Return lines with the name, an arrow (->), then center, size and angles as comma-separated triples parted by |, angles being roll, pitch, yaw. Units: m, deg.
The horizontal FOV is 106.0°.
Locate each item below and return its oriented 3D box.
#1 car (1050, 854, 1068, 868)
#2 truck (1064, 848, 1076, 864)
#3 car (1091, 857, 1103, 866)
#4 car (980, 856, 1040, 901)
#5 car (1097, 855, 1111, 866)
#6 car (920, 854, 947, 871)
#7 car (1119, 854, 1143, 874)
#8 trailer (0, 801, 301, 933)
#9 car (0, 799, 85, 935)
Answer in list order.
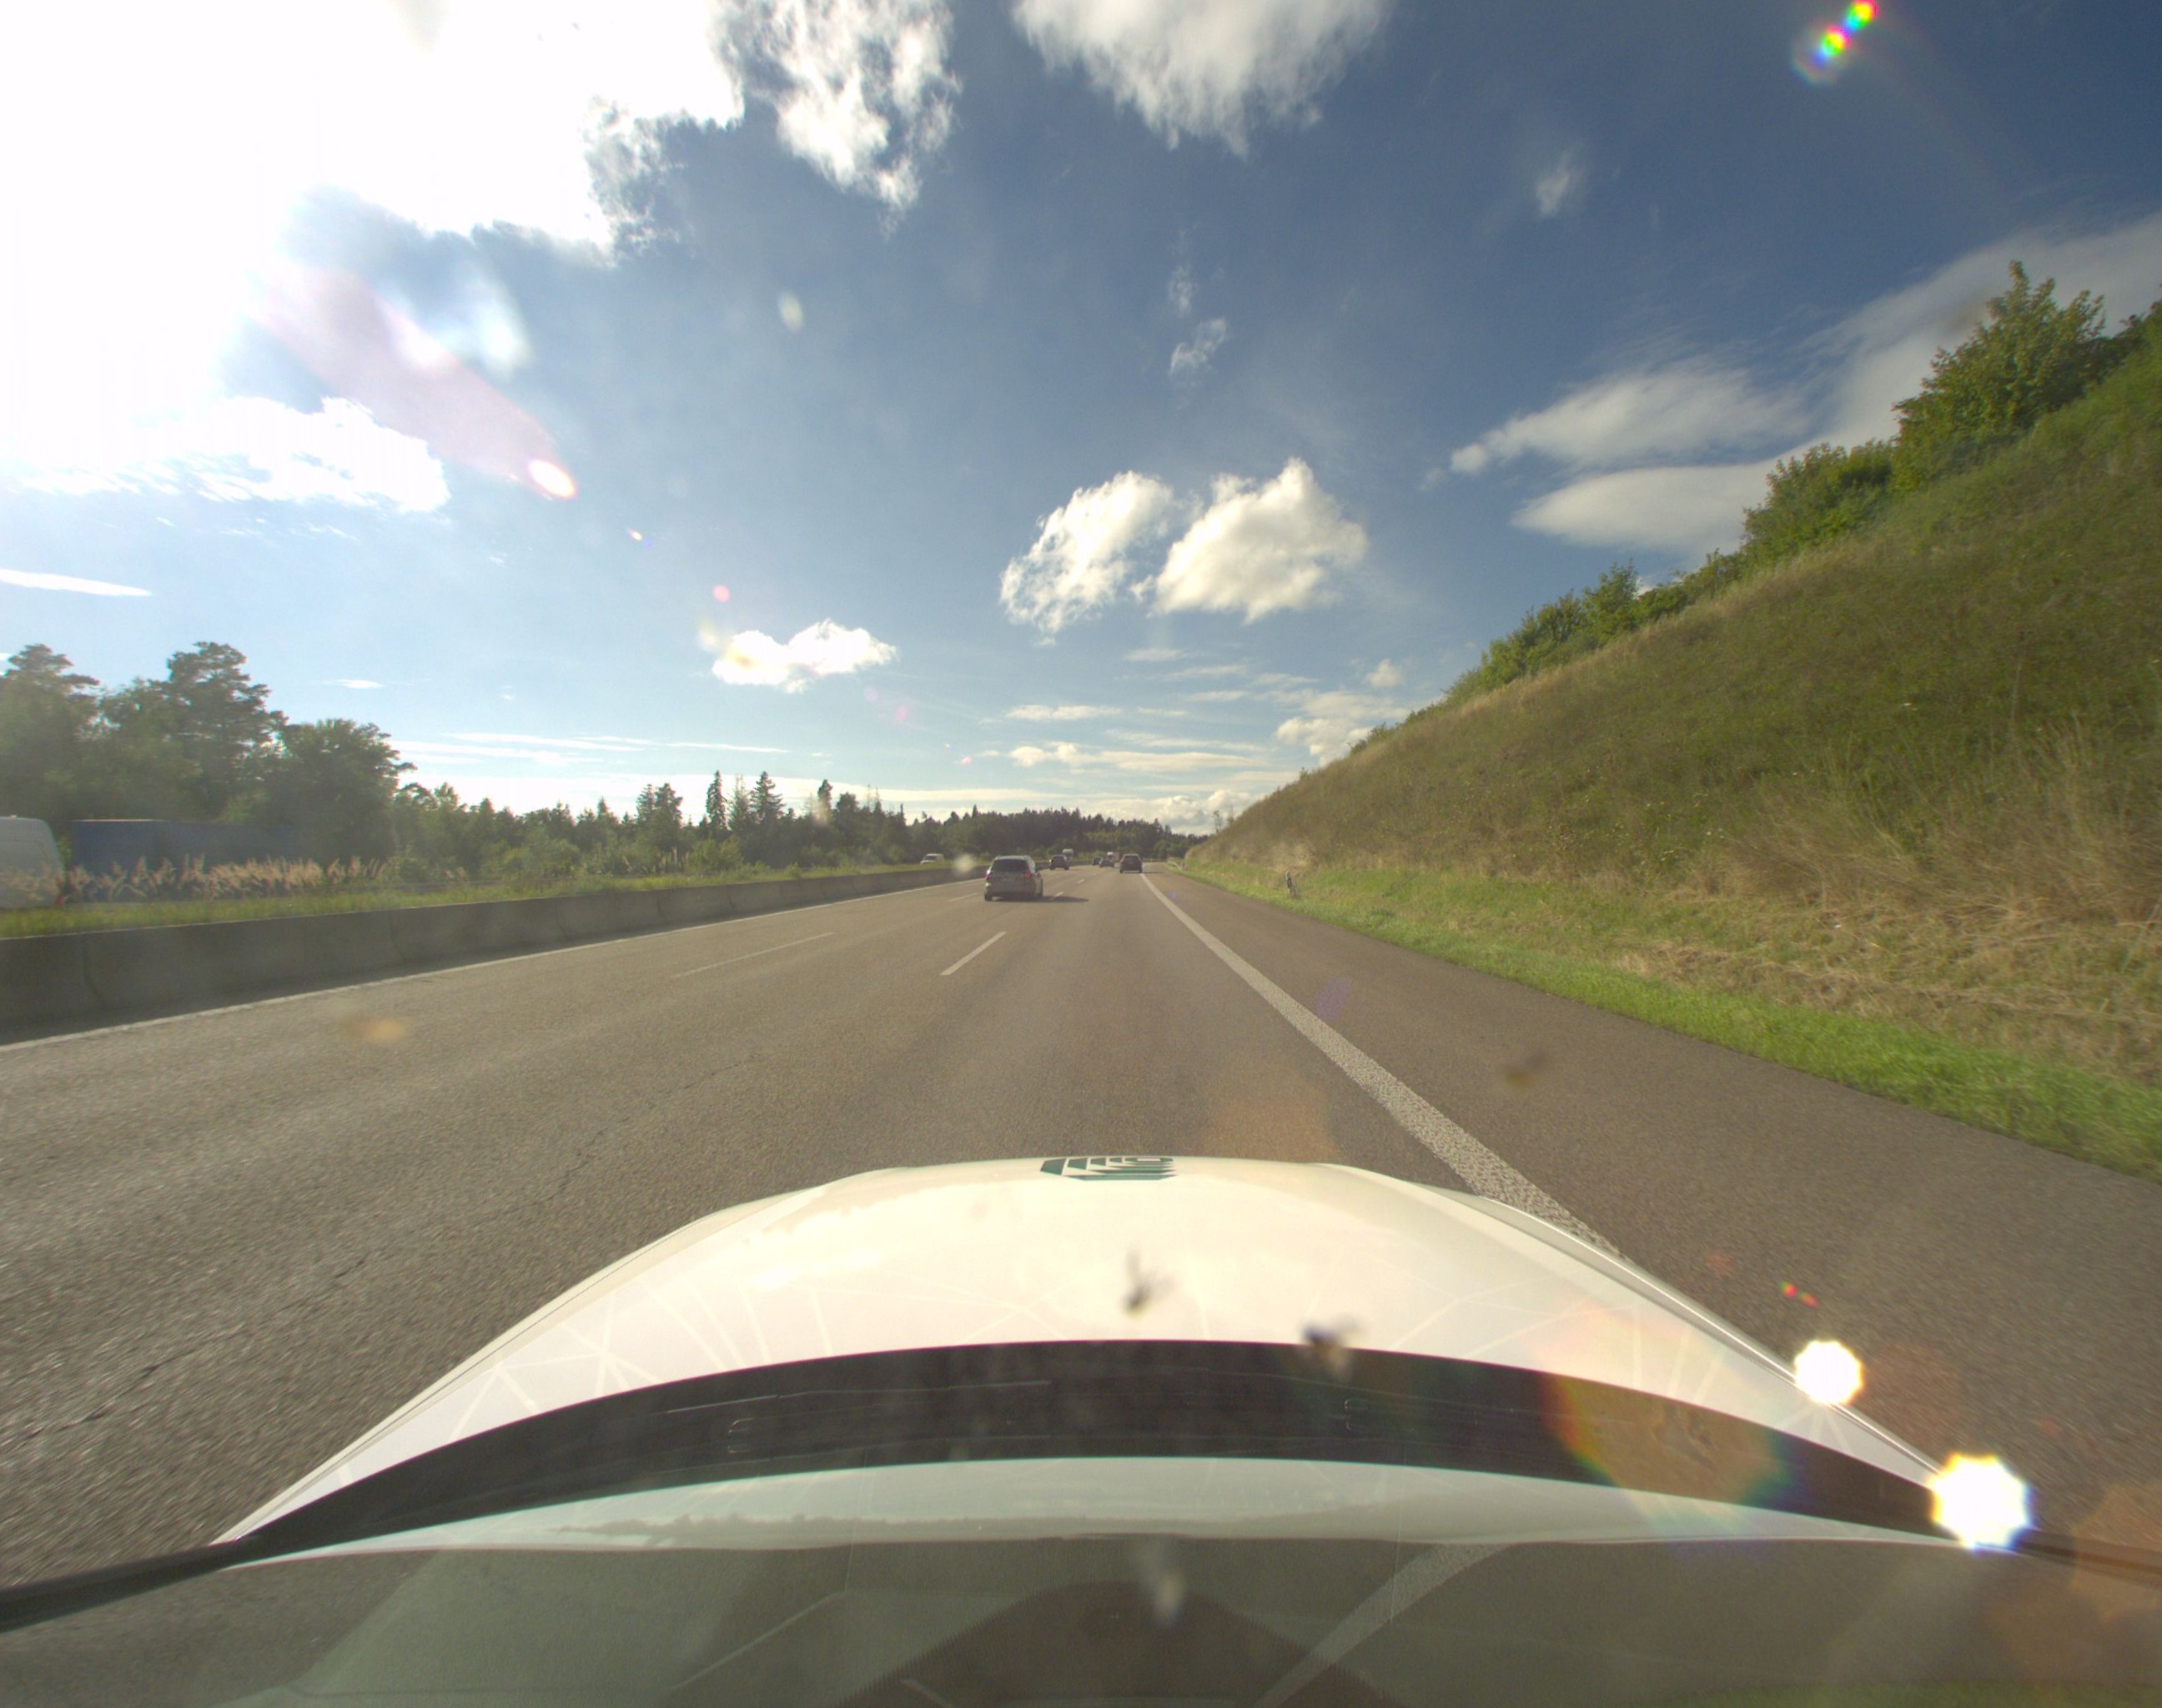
car -> -2.432, 0.794, 89.925 | 1.868, 1.497, 3.878 | -1, 0, -1
truck -> -2.966, 0.637, 223.931 | 2.789, 4.392, 5.471 | -1, 0, 5
car -> 2.702, 1.200, 138.545 | 1.866, 1.497, 3.882 | -1, 0, 2
car -> -2.486, 0.849, 29.500 | 1.868, 1.497, 3.878 | -1, 0, -1
car -> 3.148, 0.840, 110.183 | 1.866, 1.497, 3.882 | -1, 0, 3
car -> -17.721, 1.014, 97.992 | 1.985, 2.013, 5.392 | -1, 0, 4
car -> 4.296, 0.851, 70.597 | 1.867, 1.675, 3.890 | -1, 0, 1
trailer -> -22.434, 0.275, 19.424 | 2.262, 2.683, 5.563 | -1, 0, 1
car -> -22.509, 0.268, 14.494 | 2.262, 2.683, 5.889 | -1, 0, 1
